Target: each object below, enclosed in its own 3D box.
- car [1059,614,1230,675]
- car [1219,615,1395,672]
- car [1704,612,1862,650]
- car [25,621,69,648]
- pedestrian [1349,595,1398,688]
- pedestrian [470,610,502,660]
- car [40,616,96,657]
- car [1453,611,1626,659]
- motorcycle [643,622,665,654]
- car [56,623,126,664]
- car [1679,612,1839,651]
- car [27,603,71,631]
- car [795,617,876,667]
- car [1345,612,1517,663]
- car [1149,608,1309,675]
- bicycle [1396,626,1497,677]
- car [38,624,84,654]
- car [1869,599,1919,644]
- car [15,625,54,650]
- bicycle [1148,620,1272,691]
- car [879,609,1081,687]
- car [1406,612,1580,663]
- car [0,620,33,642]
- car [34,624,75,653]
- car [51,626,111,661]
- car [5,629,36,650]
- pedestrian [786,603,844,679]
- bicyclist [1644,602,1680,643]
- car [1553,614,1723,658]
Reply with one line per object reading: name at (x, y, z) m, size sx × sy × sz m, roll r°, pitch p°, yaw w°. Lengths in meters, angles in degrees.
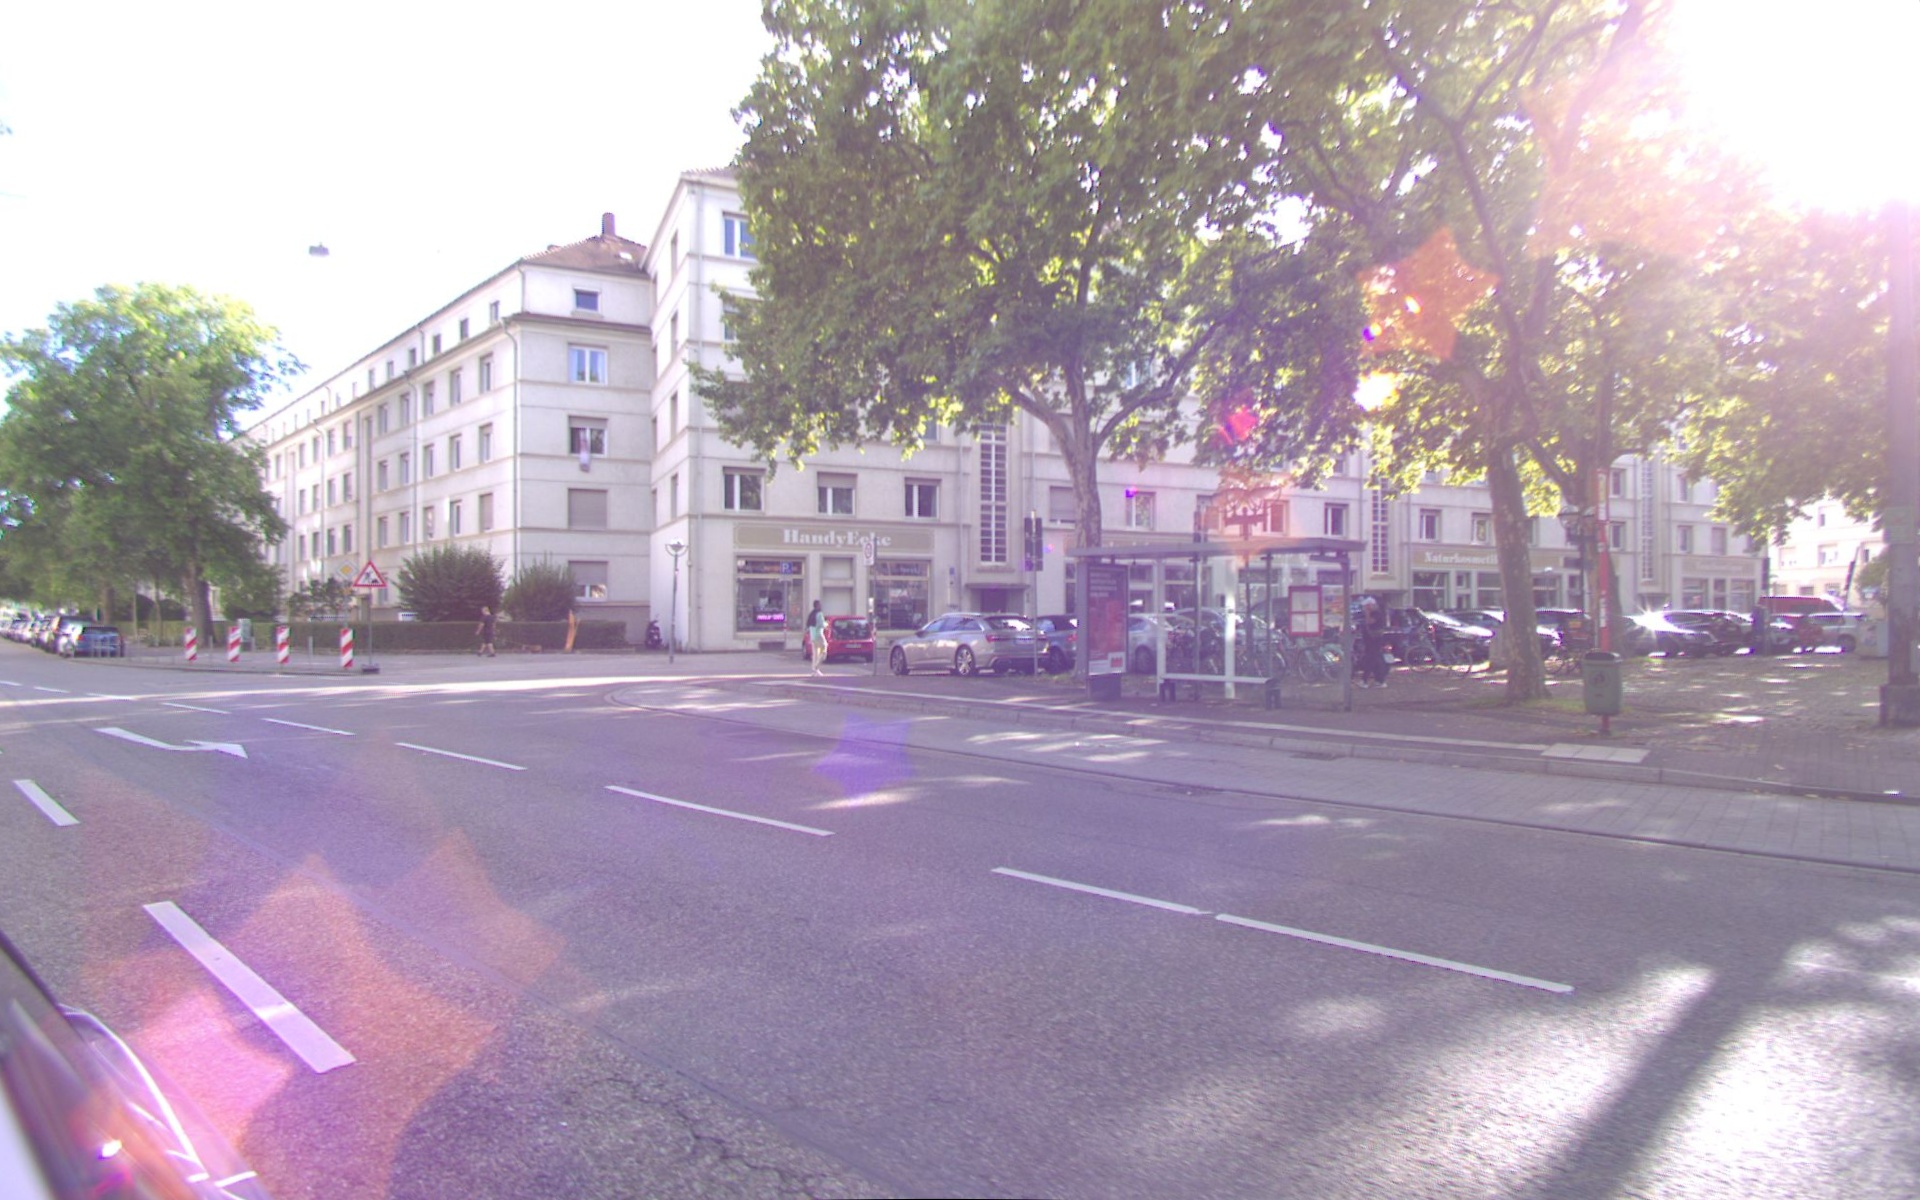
car at (4.489, 1.058, 25.454) m, size 1.643 × 1.388 × 4.853 m, roll 0°, pitch -1°, yaw -27°
car at (9.146, 1.107, 27.080) m, size 1.828 × 1.388 × 4.402 m, roll 0°, pitch -1°, yaw -27°
car at (32.052, 1.179, 39.540) m, size 1.828 × 1.388 × 4.402 m, roll 0°, pitch -1°, yaw -27°
car at (-52.983, 1.987, 58.724) m, size 1.680 × 1.498 × 3.850 m, roll 4°, pitch -4°, yaw -44°
pedestrian at (7.852, 0.772, 19.229) m, size 0.706 × 1.728 × 0.495 m, roll -2°, pitch -2°, yaw 43°
pedestrian at (-15.242, 1.106, 32.541) m, size 0.732 × 1.590 × 0.724 m, roll -1°, pitch -1°, yaw 41°
car at (-43.477, 1.782, 49.309) m, size 4.193 × 1.897 × 1.703 m, roll -2°, pitch -3°, yaw 45°
car at (18.056, 1.058, 31.762) m, size 1.828 × 1.388 × 4.402 m, roll 0°, pitch -1°, yaw -27°
motorcycle at (-11.616, 1.423, 38.407) m, size 0.537 × 1.172 × 1.882 m, roll 0°, pitch -1°, yaw -25°
car at (-36.213, 1.790, 42.155) m, size 3.803 × 1.632 × 1.779 m, roll -1°, pitch -4°, yaw 43°
car at (30.248, 1.157, 38.480) m, size 1.828 × 1.388 × 4.402 m, roll 0°, pitch -1°, yaw -27°
car at (-56.634, 1.081, 62.886) m, size 1.778 × 1.681 × 4.486 m, roll 4°, pitch -4°, yaw -44°
car at (-4.087, 1.309, 32.772) m, size 1.568 × 1.489 × 3.718 m, roll 0°, pitch -1°, yaw -24°
car at (13.799, 1.059, 29.913) m, size 1.828 × 1.388 × 4.402 m, roll 0°, pitch -1°, yaw -27°
car at (6.980, 1.042, 26.723) m, size 1.654 × 1.629 × 4.290 m, roll 0°, pitch -1°, yaw -27°
bicycle at (11.103, 1.153, 23.169) m, size 0.690 × 1.090 × 2.101 m, roll 0°, pitch -1°, yaw -25°
car at (-46.757, 2.020, 52.667) m, size 1.674 × 1.504 × 4.337 m, roll 2°, pitch -3°, yaw -42°
car at (42.020, 0.906, 43.436) m, size 1.965 × 1.857 × 4.013 m, roll -2°, pitch 1°, yaw -23°
car at (-63.246, 2.554, 69.130) m, size 3.995 × 1.632 × 1.719 m, roll -1°, pitch -1°, yaw 44°
bicycle at (4.933, 1.062, 20.118) m, size 1.370 × 1.218 × 2.110 m, roll 0°, pitch 1°, yaw -25°
car at (0.317, 1.028, 23.395) m, size 2.203 × 1.597 × 4.987 m, roll 0°, pitch -1°, yaw -34°
car at (15.987, 1.094, 30.611) m, size 1.828 × 1.388 × 4.402 m, roll 0°, pitch -1°, yaw -27°
car at (-81.716, 2.668, 87.559) m, size 4.972 × 1.807 × 1.856 m, roll -1°, pitch -3°, yaw 44°
car at (-50.204, 2.130, 56.080) m, size 1.534 × 1.532 × 3.018 m, roll 4°, pitch -4°, yaw -44°
car at (-39.553, 1.940, 45.493) m, size 1.778 × 1.505 × 3.806 m, roll 4°, pitch -4°, yaw -44°
car at (-74.076, 3.116, 79.815) m, size 1.665 × 1.492 × 4.457 m, roll 5°, pitch -4°, yaw -42°
pedestrian at (-3.488, 0.964, 24.382) m, size 0.915 × 1.767 × 1.067 m, roll -1°, pitch 0°, yaw 28°
bicyclist at (29.900, 0.964, 43.110) m, size 1.094 × 1.704 × 0.817 m, roll 0°, pitch -1°, yaw -25°
car at (22.690, 1.175, 34.081) m, size 1.828 × 1.388 × 4.402 m, roll 0°, pitch -1°, yaw -27°
